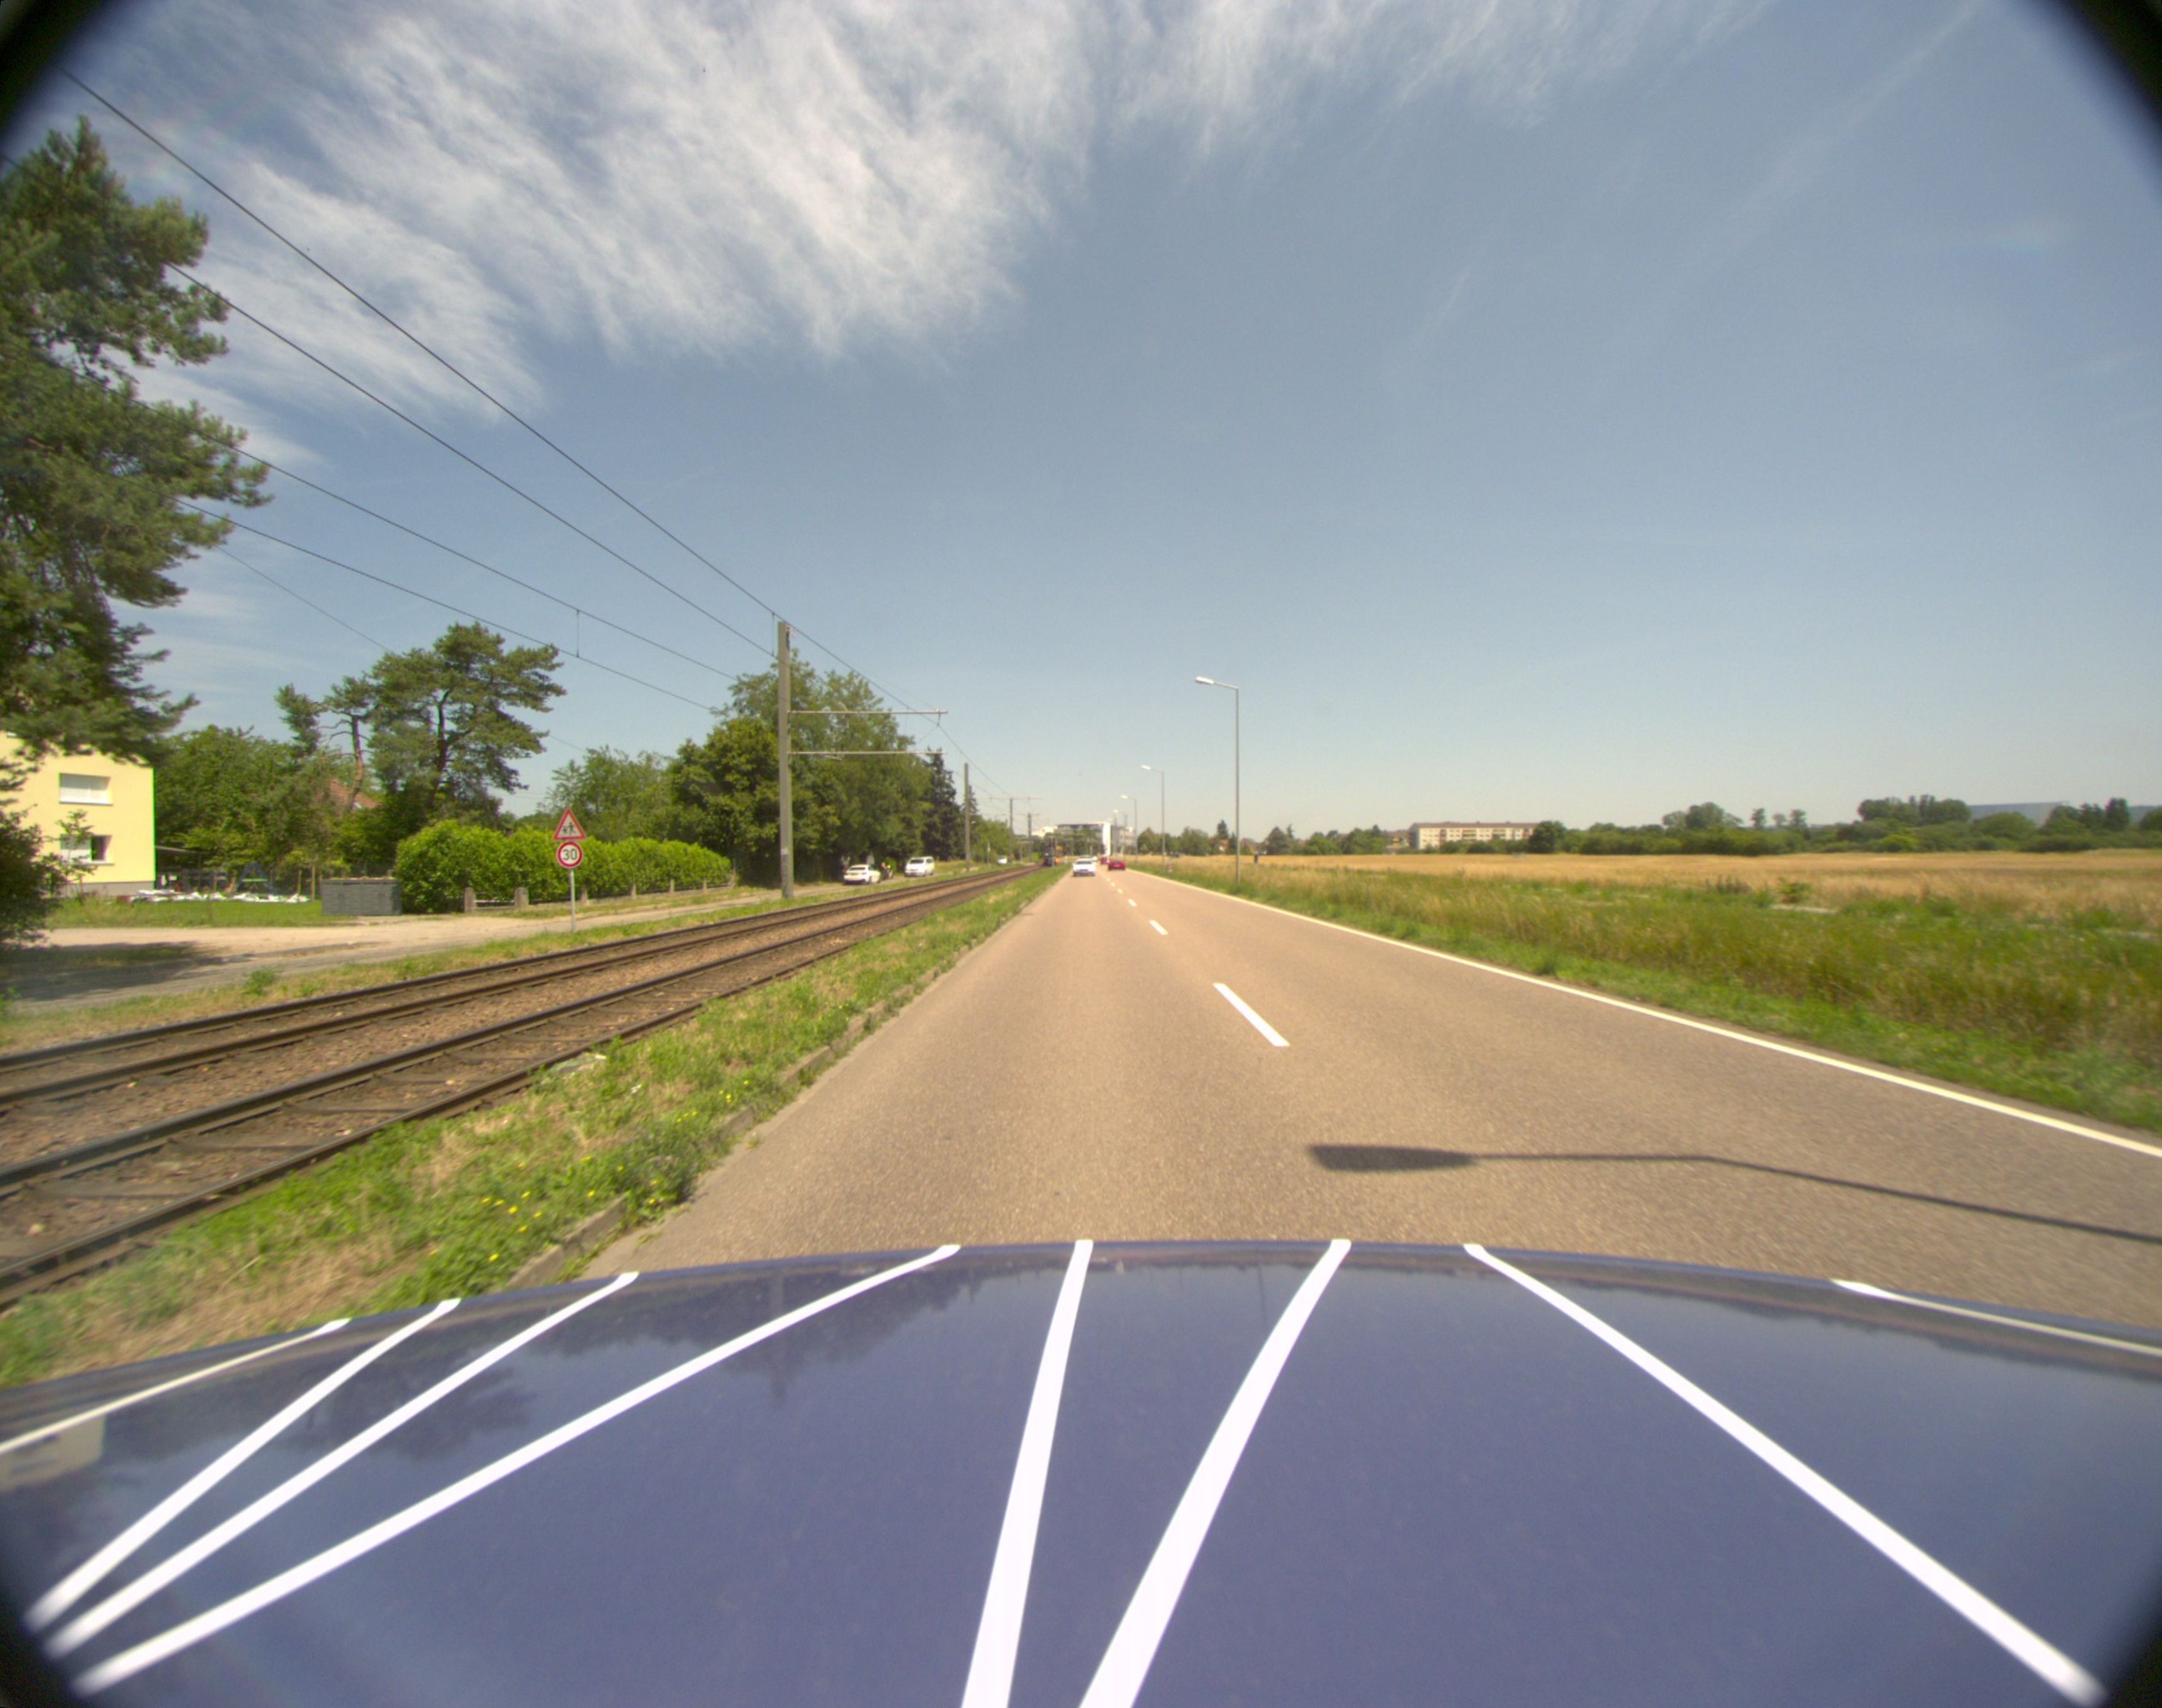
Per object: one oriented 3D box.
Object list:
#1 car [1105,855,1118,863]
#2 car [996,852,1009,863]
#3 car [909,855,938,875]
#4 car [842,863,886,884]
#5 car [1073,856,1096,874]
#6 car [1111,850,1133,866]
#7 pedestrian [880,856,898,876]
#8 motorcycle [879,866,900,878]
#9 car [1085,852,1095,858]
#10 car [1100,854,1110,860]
[{"bbox_3d":[5.386,0.877,135.806,2.254,1.254,4.365,-2,1,1],"label":"car"},{"bbox_3d":[-15.650,0.741,151.195,1.944,2.111,4.587,-2,1,1],"label":"car"},{"bbox_3d":[-15.522,1.043,75.110,1.863,1.816,4.587,-2,1,1],"label":"car"},{"bbox_3d":[-15.788,1.393,55.453,1.923,1.376,4.000,-2,1,1],"label":"car"},{"bbox_3d":[0.330,0.902,63.839,1.856,1.447,3.706,-2,1,1],"label":"car"},{"bbox_3d":[4.479,0.427,83.585,2.254,1.677,3.889,-2,1,1],"label":"car"},{"bbox_3d":[-16.339,1.019,64.785,1.171,1.653,0.880,-2,1,5],"label":"pedestrian"},{"bbox_3d":[-16.334,1.509,64.955,0.858,0.902,2.791,-2,1,5],"label":"motorcycle"},{"bbox_3d":[2.086,0.315,176.809,2.254,1.254,4.365,-2,1,1],"label":"car"},{"bbox_3d":[5.581,0.694,175.810,2.254,1.254,3.889,-2,1,1],"label":"car"}]
